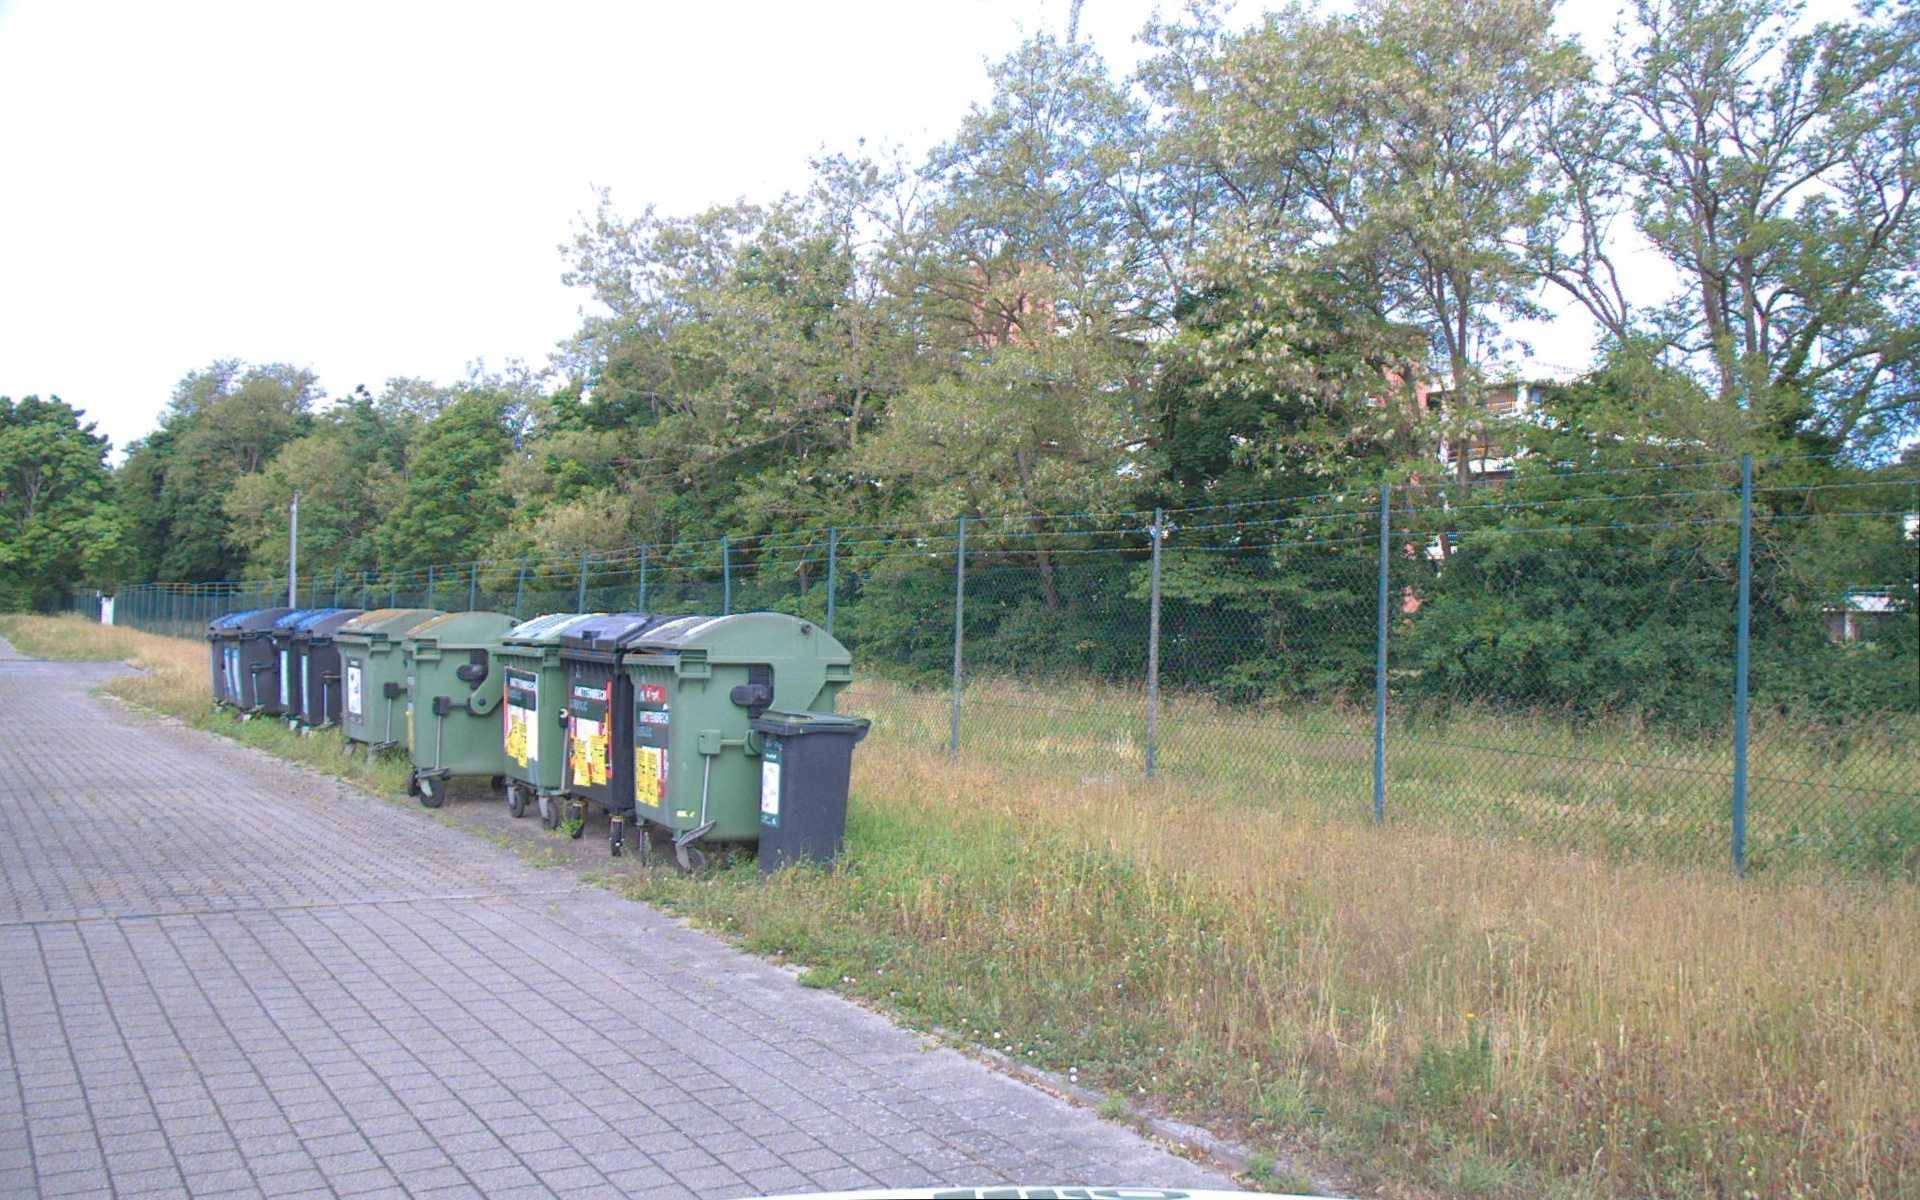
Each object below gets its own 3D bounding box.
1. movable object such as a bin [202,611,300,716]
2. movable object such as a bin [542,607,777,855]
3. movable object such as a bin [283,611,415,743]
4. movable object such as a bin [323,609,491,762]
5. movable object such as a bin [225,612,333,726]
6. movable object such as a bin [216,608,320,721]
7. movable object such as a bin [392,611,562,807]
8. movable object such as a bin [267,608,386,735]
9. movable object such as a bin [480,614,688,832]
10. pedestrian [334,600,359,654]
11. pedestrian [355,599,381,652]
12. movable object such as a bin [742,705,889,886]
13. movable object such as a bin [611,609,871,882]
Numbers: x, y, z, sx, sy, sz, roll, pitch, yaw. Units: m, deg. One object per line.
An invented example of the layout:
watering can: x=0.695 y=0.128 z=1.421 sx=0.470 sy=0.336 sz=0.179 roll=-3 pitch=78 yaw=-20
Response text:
movable object such as a bin: x=-9.740 y=0.866 z=22.702 sx=1.109 sy=1.374 sz=1.413 roll=3 pitch=-3 yaw=-27
movable object such as a bin: x=-1.952 y=0.807 z=10.631 sx=1.058 sy=1.460 sz=1.384 roll=3 pitch=-3 yaw=-30
movable object such as a bin: x=-6.623 y=0.823 z=17.878 sx=1.140 sy=1.348 sz=1.480 roll=3 pitch=-3 yaw=-27
movable object such as a bin: x=-5.065 y=0.770 z=15.111 sx=1.112 sy=1.319 sz=1.364 roll=3 pitch=-3 yaw=-33
movable object such as a bin: x=-8.397 y=0.829 z=20.364 sx=1.109 sy=1.345 sz=1.314 roll=2 pitch=-1 yaw=-27
movable object such as a bin: x=-9.009 y=0.835 z=21.501 sx=1.109 sy=1.403 sz=1.313 roll=3 pitch=-3 yaw=-27
movable object such as a bin: x=-3.786 y=0.829 z=12.883 sx=1.107 sy=1.423 sz=1.376 roll=2 pitch=-2 yaw=-22
movable object such as a bin: x=-7.383 y=0.828 z=19.249 sx=1.109 sy=1.398 sz=1.480 roll=3 pitch=-3 yaw=-27
movable object such as a bin: x=-2.684 y=0.839 z=11.727 sx=1.058 sy=1.430 sz=1.371 roll=3 pitch=-3 yaw=-30
pedestrian: x=-23.686 y=1.034 z=63.848 sx=0.752 sy=2.049 sz=0.656 roll=2 pitch=-2 yaw=-34
pedestrian: x=-23.002 y=0.990 z=64.275 sx=0.752 sy=2.049 sz=0.656 roll=2 pitch=-2 yaw=-34
movable object such as a bin: x=-0.761 y=1.006 z=8.655 sx=0.592 sy=0.881 sz=0.581 roll=3 pitch=-3 yaw=-24
movable object such as a bin: x=-1.280 y=0.795 z=9.468 sx=1.113 sy=1.420 sz=1.346 roll=3 pitch=-2 yaw=-24
